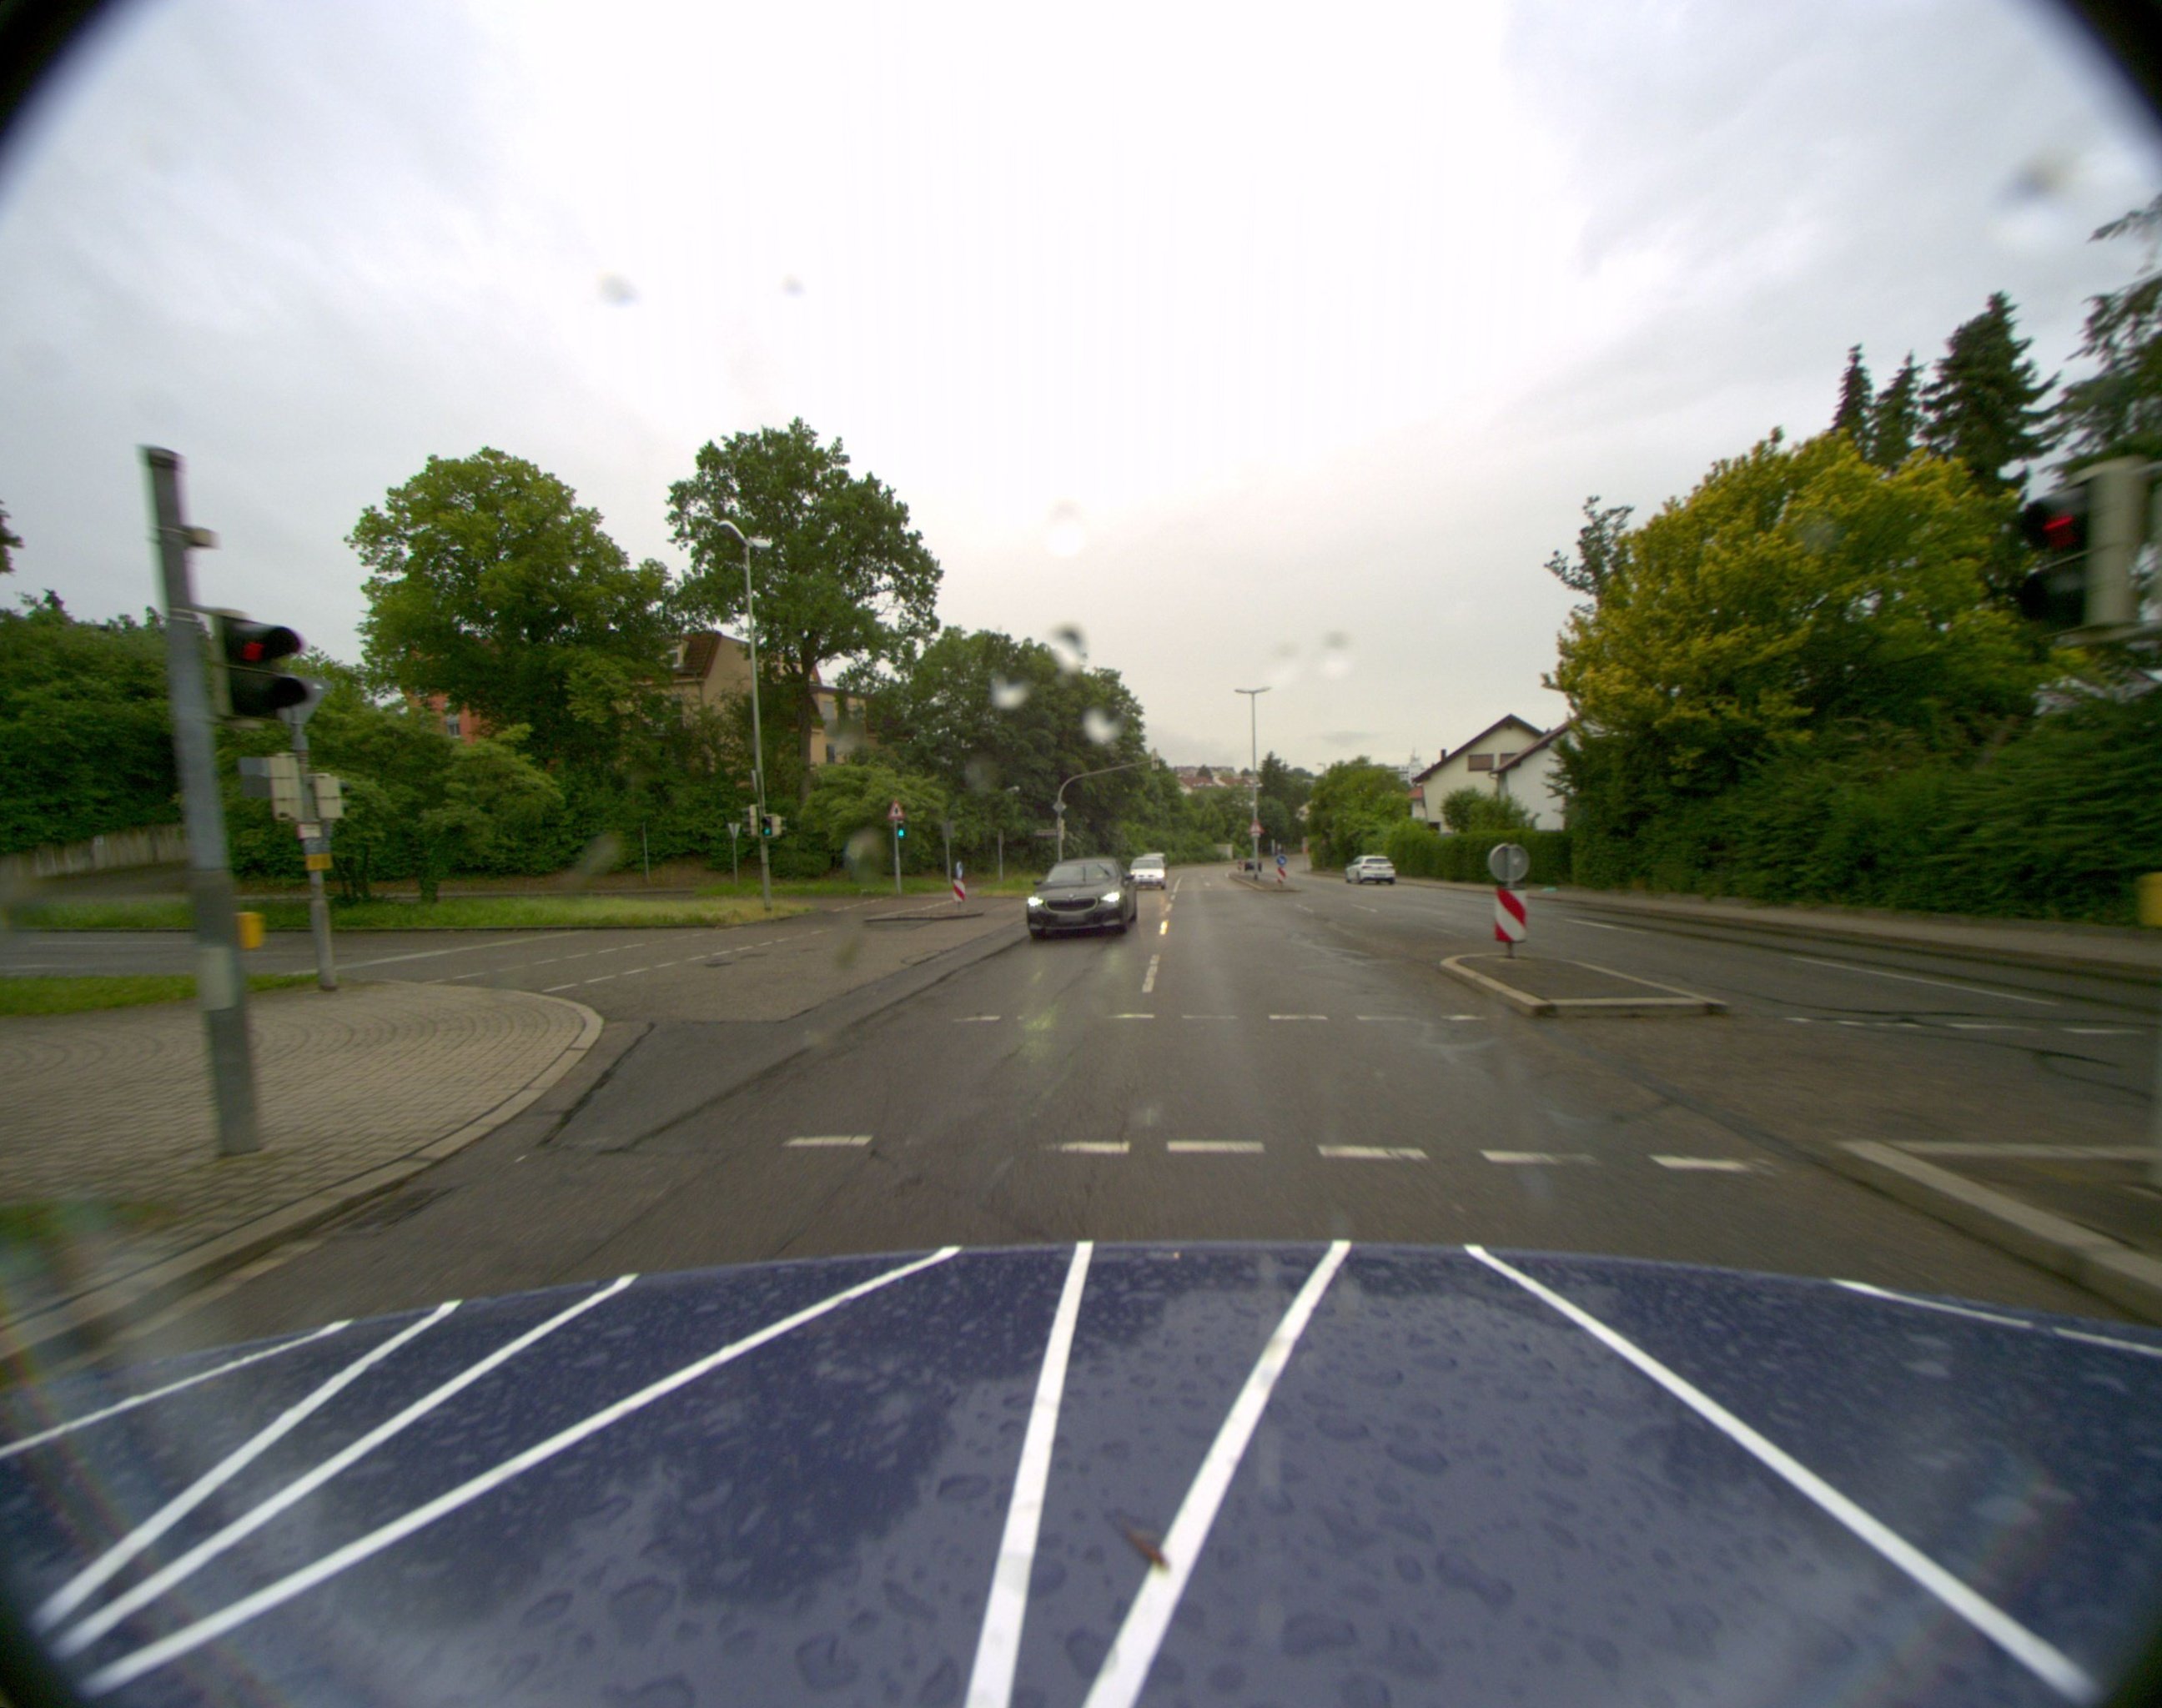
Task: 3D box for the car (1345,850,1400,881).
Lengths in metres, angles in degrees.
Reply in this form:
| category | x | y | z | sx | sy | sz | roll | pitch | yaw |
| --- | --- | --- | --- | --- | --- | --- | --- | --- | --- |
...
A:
| category | x | y | z | sx | sy | sz | roll | pitch | yaw |
| --- | --- | --- | --- | --- | --- | --- | --- | --- | --- |
| car | 14.978 | 0.576 | 39.261 | 1.731 | 1.476 | 4.159 | 1 | 0 | 8 |

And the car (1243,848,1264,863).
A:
| category | x | y | z | sx | sy | sz | roll | pitch | yaw |
| --- | --- | --- | --- | --- | --- | --- | --- | --- | --- |
| car | 17.838 | 0.167 | 78.710 | 1.866 | 1.484 | 3.836 | 0 | 0 | 10 |

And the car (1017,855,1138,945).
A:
| category | x | y | z | sx | sy | sz | roll | pitch | yaw |
| --- | --- | --- | --- | --- | --- | --- | --- | --- | --- |
| car | 0.081 | 0.834 | 15.840 | 1.866 | 1.547 | 4.122 | 0 | 1 | 9 |

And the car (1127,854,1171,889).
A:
| category | x | y | z | sx | sy | sz | roll | pitch | yaw |
| --- | --- | --- | --- | --- | --- | --- | --- | --- | --- |
| car | 3.284 | 0.787 | 36.256 | 1.813 | 1.546 | 4.122 | 0 | 1 | 9 |

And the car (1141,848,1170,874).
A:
| category | x | y | z | sx | sy | sz | roll | pitch | yaw |
| --- | --- | --- | --- | --- | --- | --- | --- | --- | --- |
| car | 5.455 | 0.483 | 55.372 | 1.813 | 1.797 | 4.122 | 0 | 1 | 9 |
